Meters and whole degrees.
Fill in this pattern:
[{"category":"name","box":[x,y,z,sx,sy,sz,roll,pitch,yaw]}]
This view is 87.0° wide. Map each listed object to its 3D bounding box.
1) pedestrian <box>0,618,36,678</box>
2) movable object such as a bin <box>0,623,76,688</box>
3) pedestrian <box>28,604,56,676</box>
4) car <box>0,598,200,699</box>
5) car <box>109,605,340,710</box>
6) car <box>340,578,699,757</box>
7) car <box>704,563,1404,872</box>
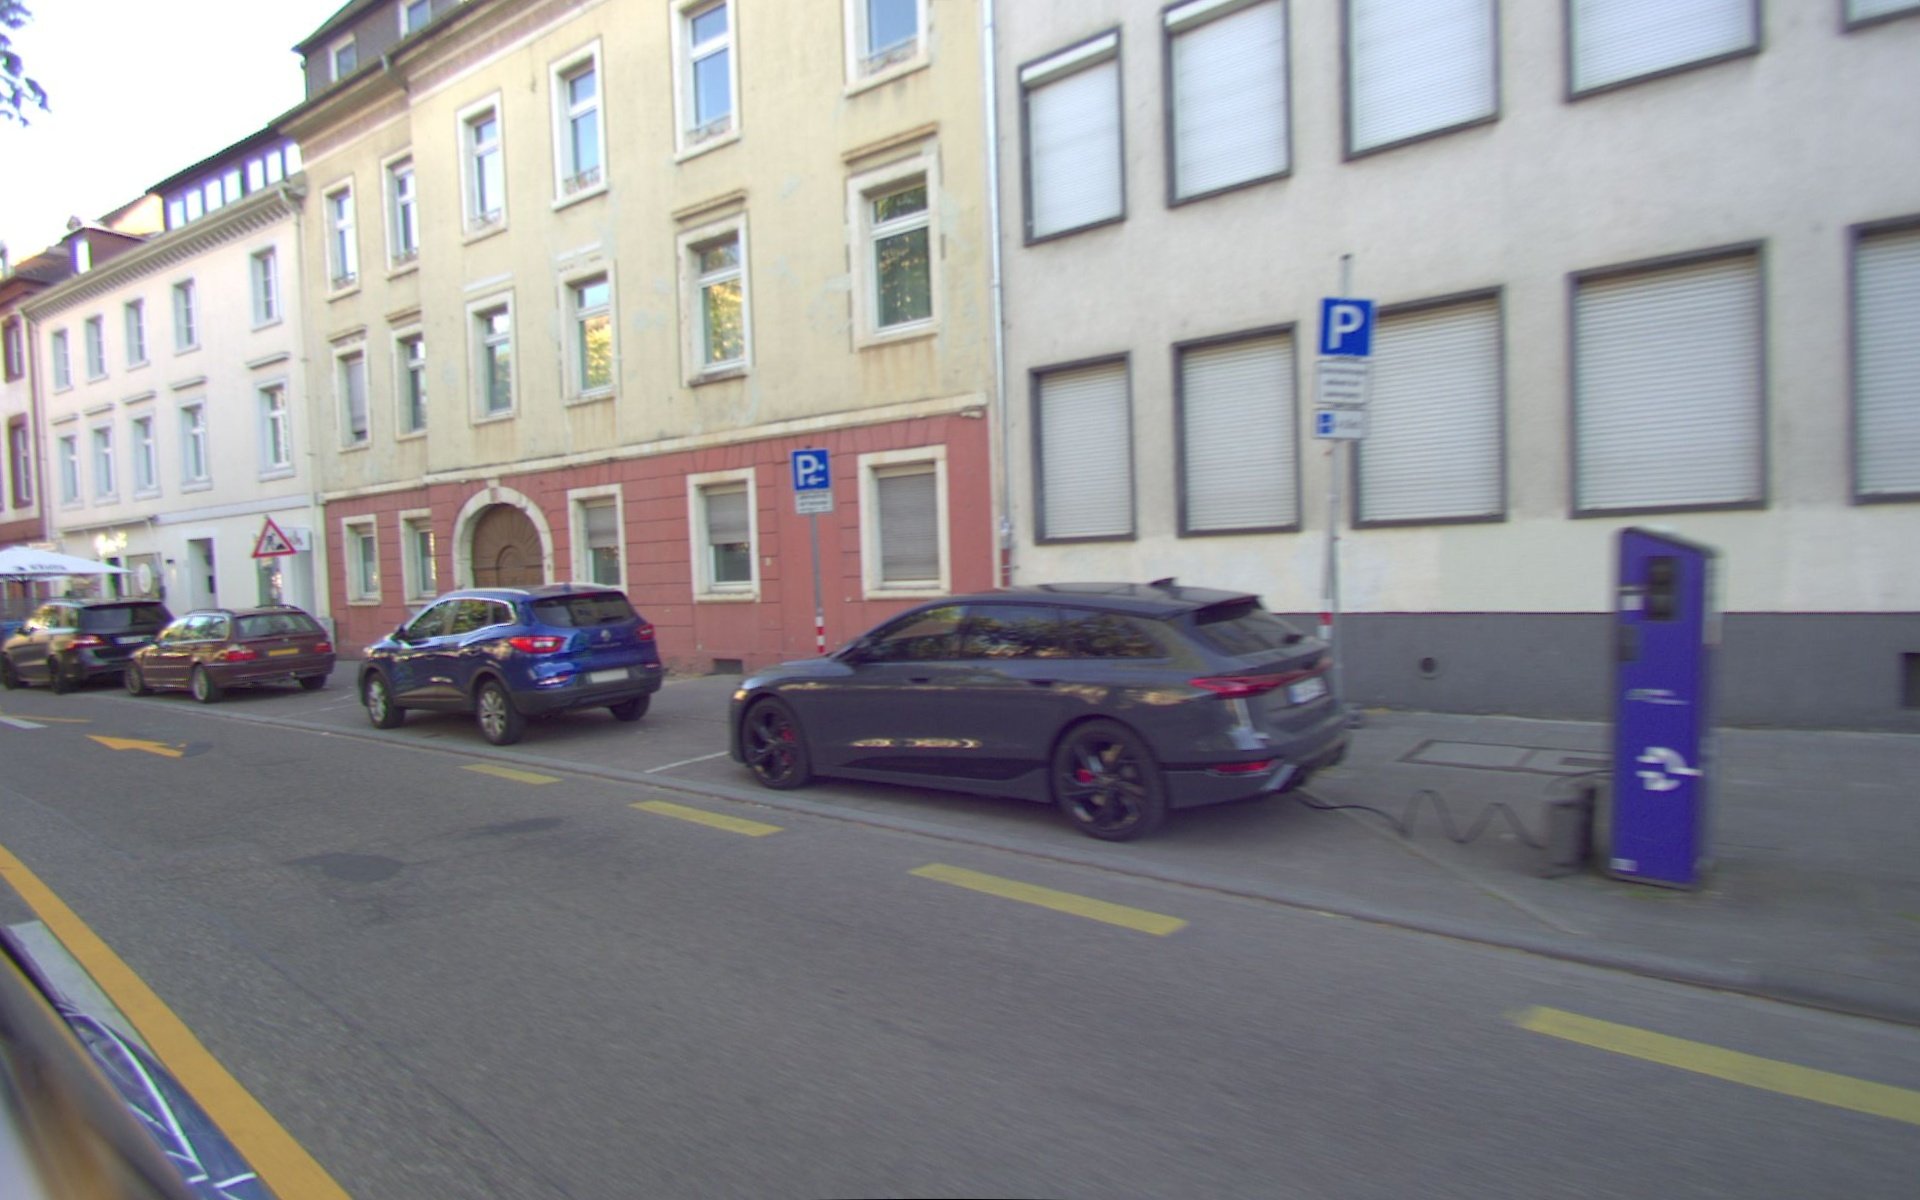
[{"category":"pedestrian","box":[-23.078,1.170,24.757,0.486,1.401,0.520,-2,1,28]},{"category":"movable object such as a bin","box":[-20.058,1.180,21.892,0.928,1.305,1.205,-1,1,36]},{"category":"pedestrian","box":[-23.322,1.004,25.709,0.598,1.788,0.433,-1,2,44]},{"category":"car","box":[-16.866,0.887,19.620,4.771,1.692,1.907,-1,1,34]},{"category":"car","box":[-12.253,0.893,16.773,4.415,1.491,1.640,-1,1,34]},{"category":"car","box":[-5.201,0.668,11.724,4.340,1.680,1.916,-1,1,37]},{"category":"car","box":[0.441,0.614,7.297,4.752,1.514,1.807,-1,3,37]}]
